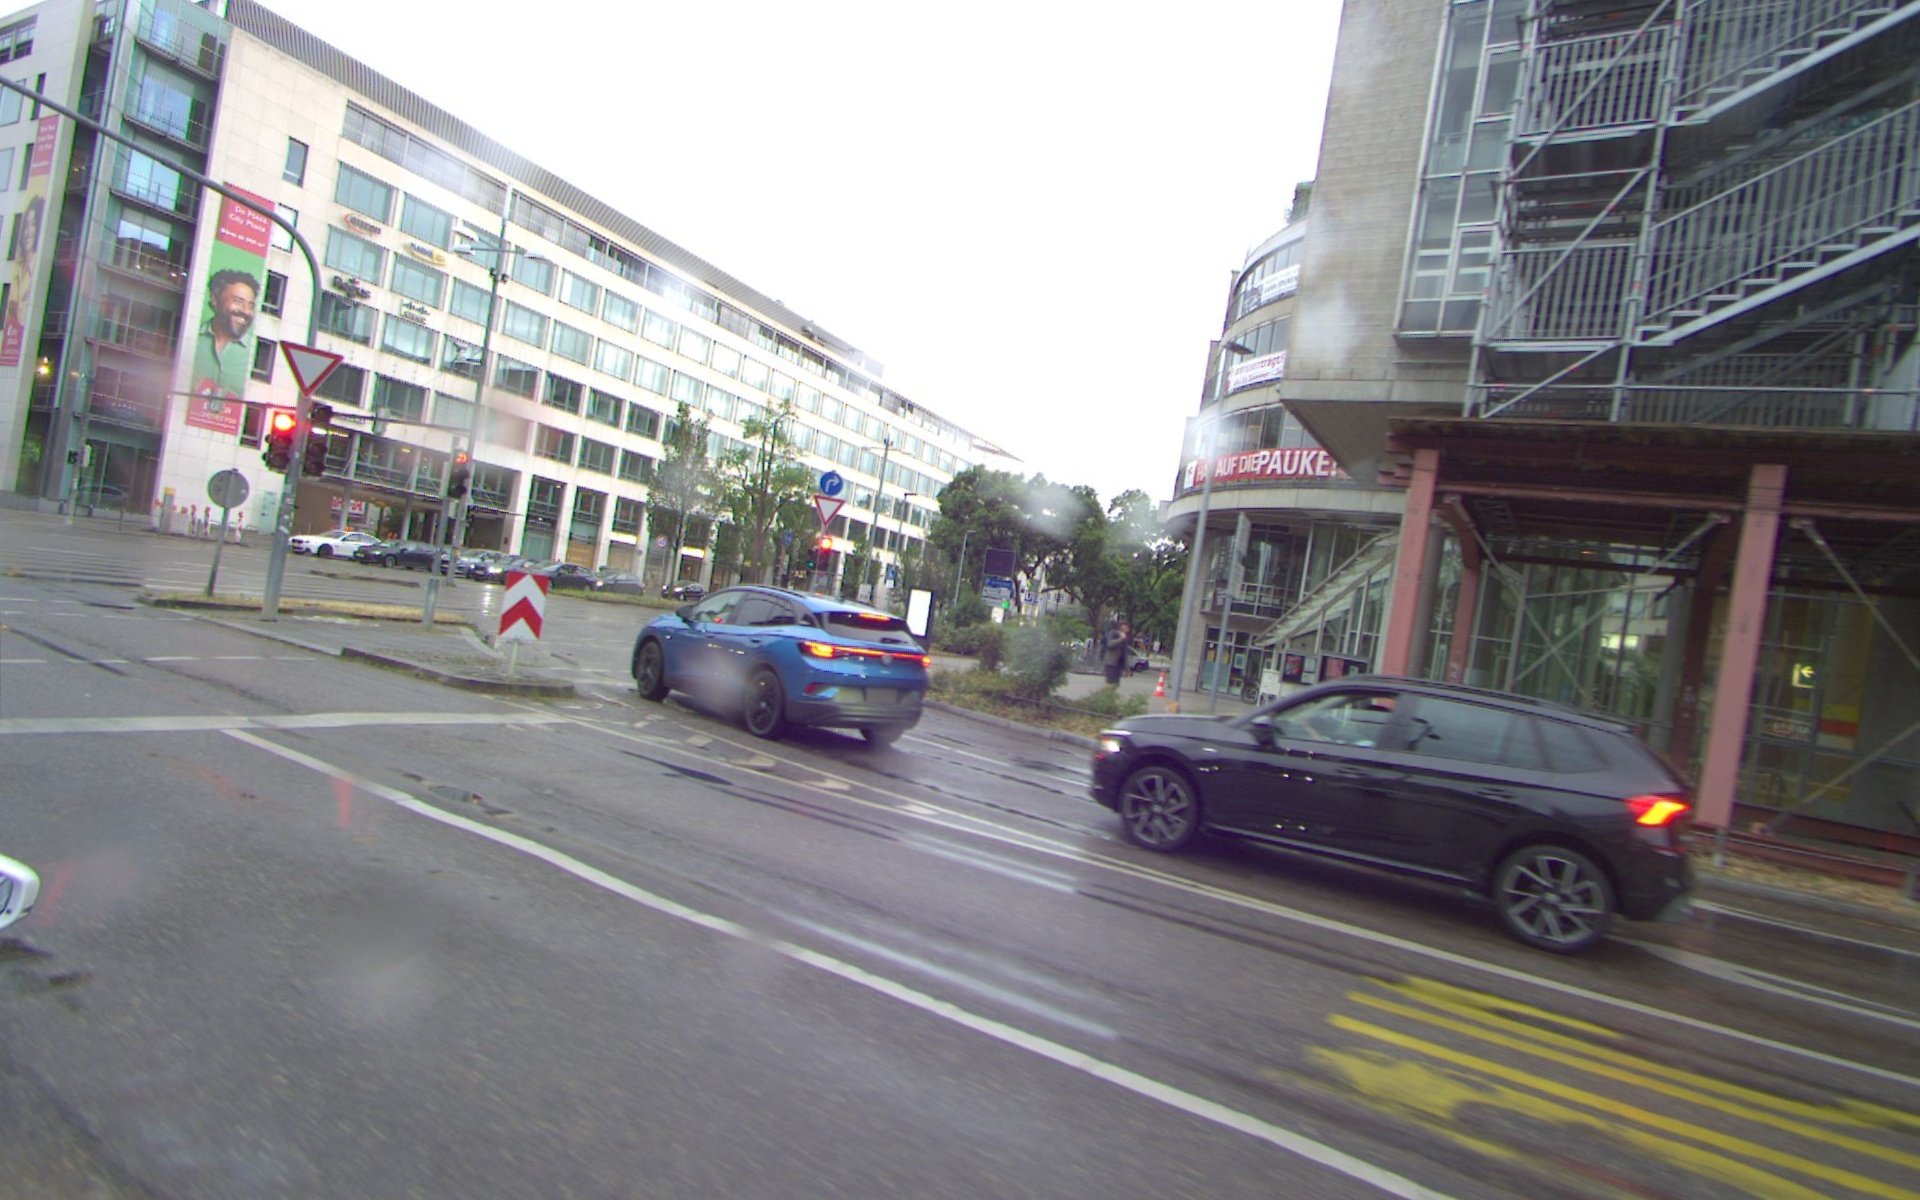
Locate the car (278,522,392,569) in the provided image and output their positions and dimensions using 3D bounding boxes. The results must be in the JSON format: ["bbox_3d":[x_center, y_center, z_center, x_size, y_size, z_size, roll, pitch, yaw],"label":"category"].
[{"bbox_3d":[-30.852,-2.675,49.834,1.962,1.617,4.468,8,-1,17],"label":"car"}]

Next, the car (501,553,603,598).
[{"bbox_3d":[-18.714,-1.087,46.397,1.690,1.481,4.467,8,-1,19],"label":"car"}]

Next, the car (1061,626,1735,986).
[{"bbox_3d":[3.054,1.275,7.537,4.080,1.558,1.780,7,-1,34],"label":"car"}]

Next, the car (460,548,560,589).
[{"bbox_3d":[-21.385,-1.473,48.016,1.690,1.364,4.468,8,-1,17],"label":"car"}]

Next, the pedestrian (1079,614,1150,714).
[{"bbox_3d":[3.154,1.298,20.537,0.676,1.875,1.045,7,0,-38],"label":"pedestrian"}]

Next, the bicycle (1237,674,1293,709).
[{"bbox_3d":[11.209,3.366,37.007,1.816,0.995,0.757,8,0,12],"label":"bicycle"}]

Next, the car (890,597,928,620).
[{"bbox_3d":[-4.586,0.765,90.961,1.700,1.643,4.196,9,0,22],"label":"car"}]

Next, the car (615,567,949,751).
[{"bbox_3d":[-2.295,0.608,11.999,1.699,1.547,4.373,8,-1,-43],"label":"car"}]

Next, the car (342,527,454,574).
[{"bbox_3d":[-27.382,-2.385,49.194,1.963,1.617,4.467,8,-1,20],"label":"car"}]

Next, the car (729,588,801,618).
[{"bbox_3d":[-13.086,0.200,67.740,4.573,1.364,1.924,8,-1,-9],"label":"car"}]

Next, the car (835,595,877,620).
[{"bbox_3d":[-8.925,0.681,86.617,1.700,1.643,4.196,9,0,22],"label":"car"}]

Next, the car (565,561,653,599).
[{"bbox_3d":[-18.242,-1.004,52.554,1.890,1.364,4.654,8,-1,16],"label":"car"}]

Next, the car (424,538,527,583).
[{"bbox_3d":[-24.053,-1.919,50.119,1.962,1.617,4.468,8,-1,17],"label":"car"}]
